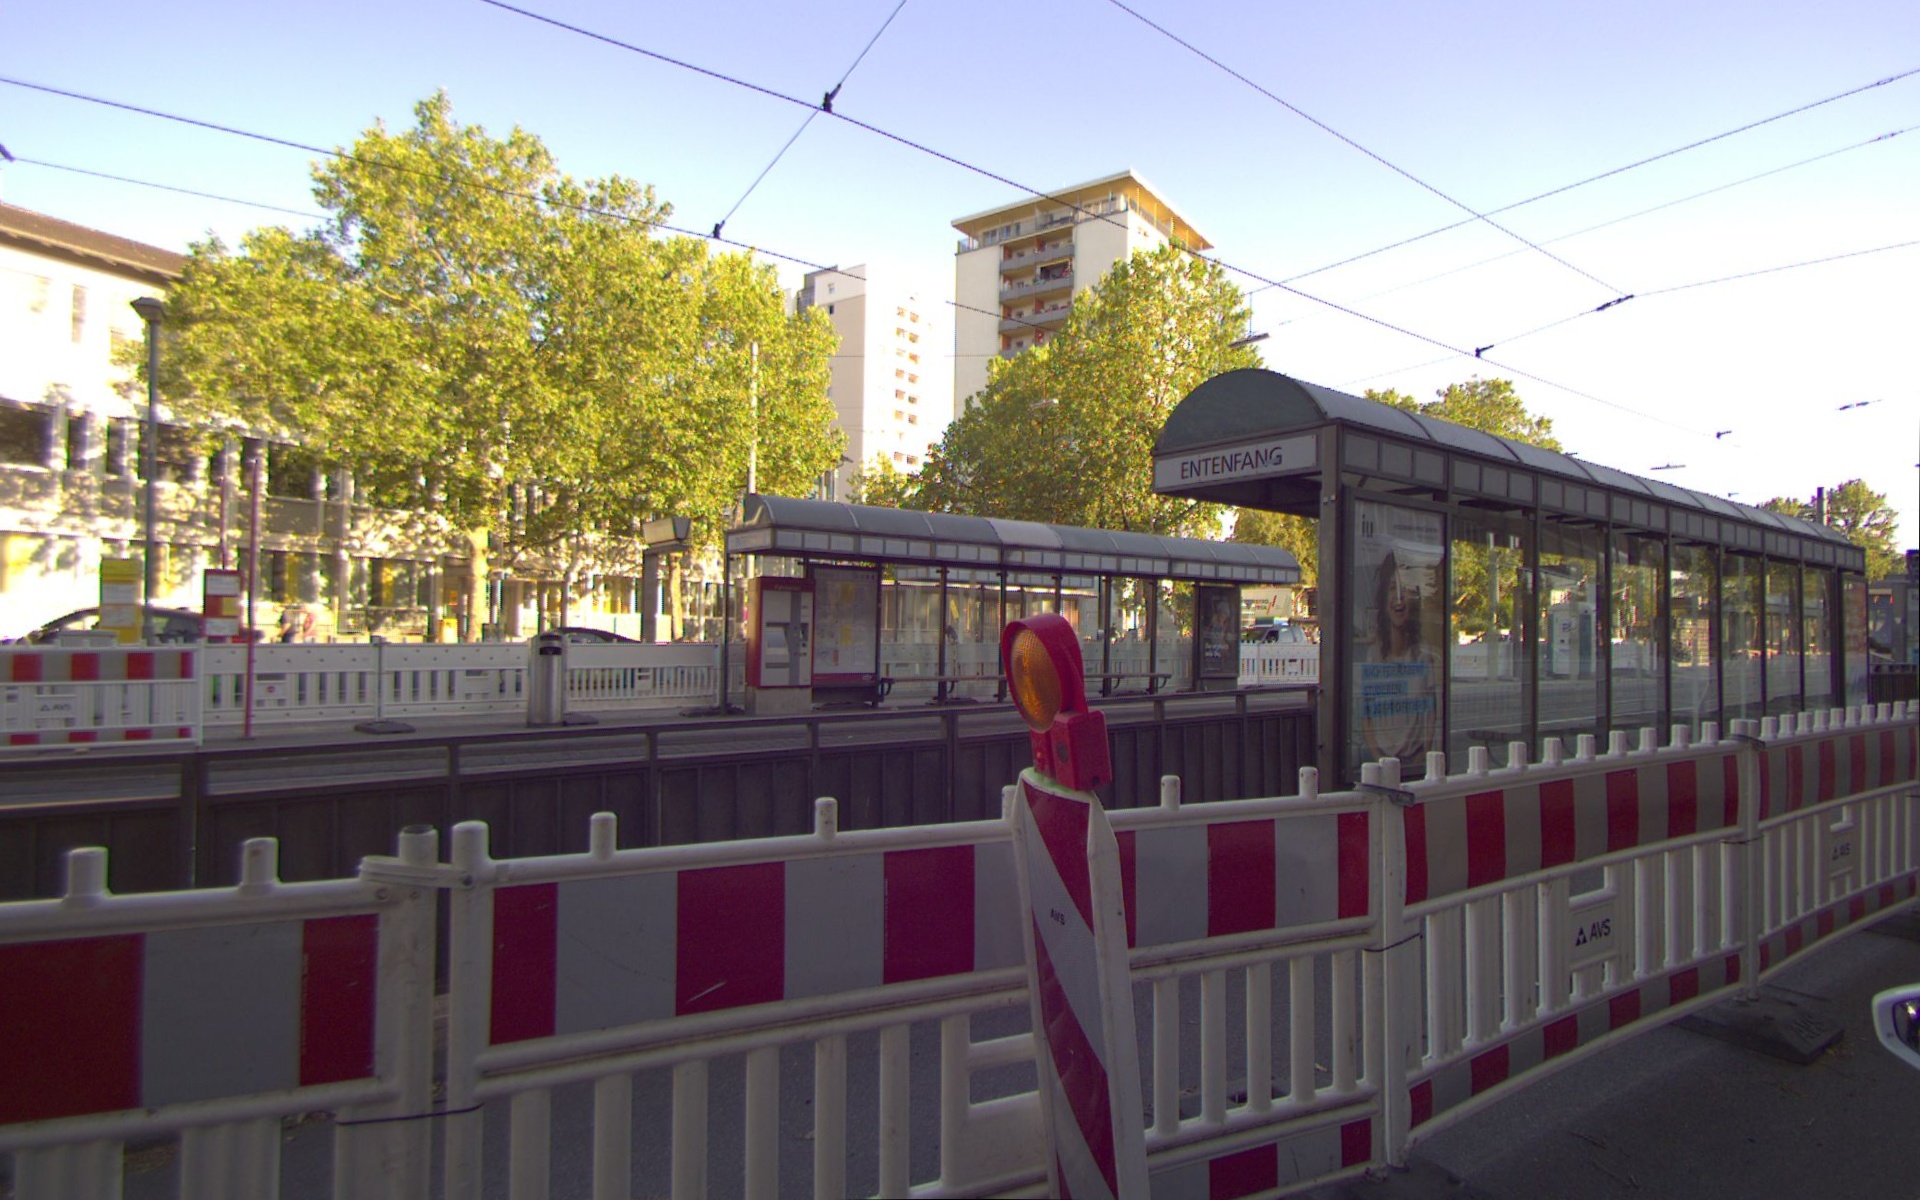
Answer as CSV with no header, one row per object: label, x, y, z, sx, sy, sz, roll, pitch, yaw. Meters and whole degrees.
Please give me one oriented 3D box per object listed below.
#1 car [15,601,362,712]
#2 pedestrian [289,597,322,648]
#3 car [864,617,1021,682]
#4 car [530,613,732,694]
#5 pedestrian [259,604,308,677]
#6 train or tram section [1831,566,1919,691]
car,-13.024,0.945,17.381,4.511,1.683,1.982,2,-2,-34
pedestrian,-19.010,0.650,29.185,0.576,1.474,0.585,0,-1,30
car,-0.454,1.352,27.842,3.959,1.683,1.901,2,-2,-34
car,-7.412,1.176,22.684,3.958,1.683,1.982,2,-2,-33
pedestrian,-17.466,1.042,25.936,0.921,1.858,0.691,2,-2,-43
train or tram section,31.898,0.968,32.716,11.656,3.580,2.668,2,0,-36
